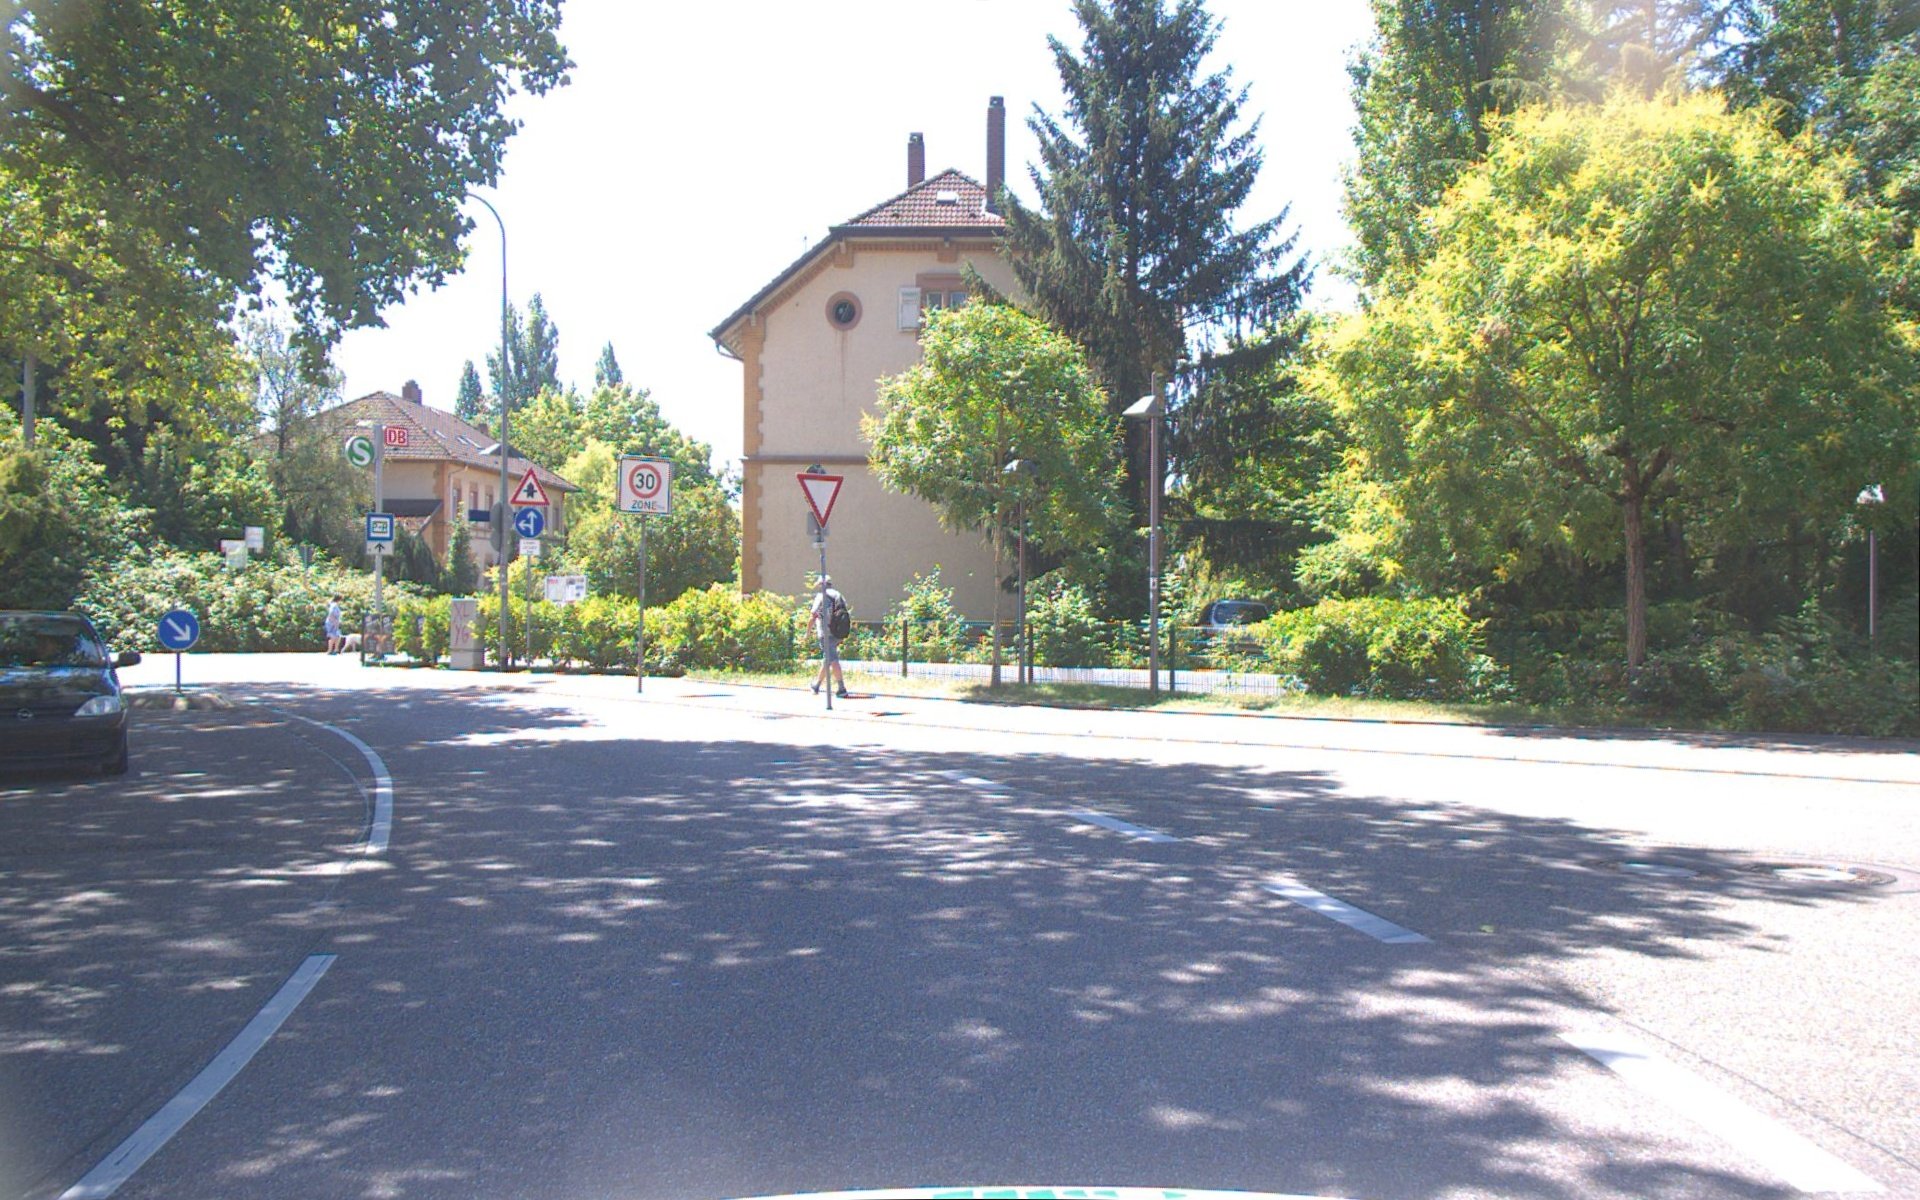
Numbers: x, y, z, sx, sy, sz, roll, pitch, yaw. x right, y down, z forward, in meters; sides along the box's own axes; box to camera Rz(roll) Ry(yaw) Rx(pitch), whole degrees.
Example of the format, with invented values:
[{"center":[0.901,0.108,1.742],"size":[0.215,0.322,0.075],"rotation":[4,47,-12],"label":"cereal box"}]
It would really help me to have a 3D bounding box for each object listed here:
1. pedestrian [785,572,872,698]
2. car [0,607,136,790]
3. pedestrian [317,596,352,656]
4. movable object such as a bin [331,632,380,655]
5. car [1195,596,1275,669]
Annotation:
[{"center":[-1.972,0.499,24.742],"size":[0.906,1.802,0.903],"rotation":[-3,2,-37],"label":"pedestrian"},{"center":[-8.724,0.819,15.272],"size":[1.625,1.442,3.956],"rotation":[-1,1,-32],"label":"car"},{"center":[-17.654,0.724,46.697],"size":[0.686,1.656,0.615],"rotation":[2,1,35],"label":"pedestrian"},{"center":[-16.916,1.206,46.291],"size":[0.507,0.605,1.238],"rotation":[0,0,36],"label":"movable object such as a bin"},{"center":[6.293,0.715,38.110],"size":[1.615,1.563,3.972],"rotation":[0,0,7],"label":"car"}]
